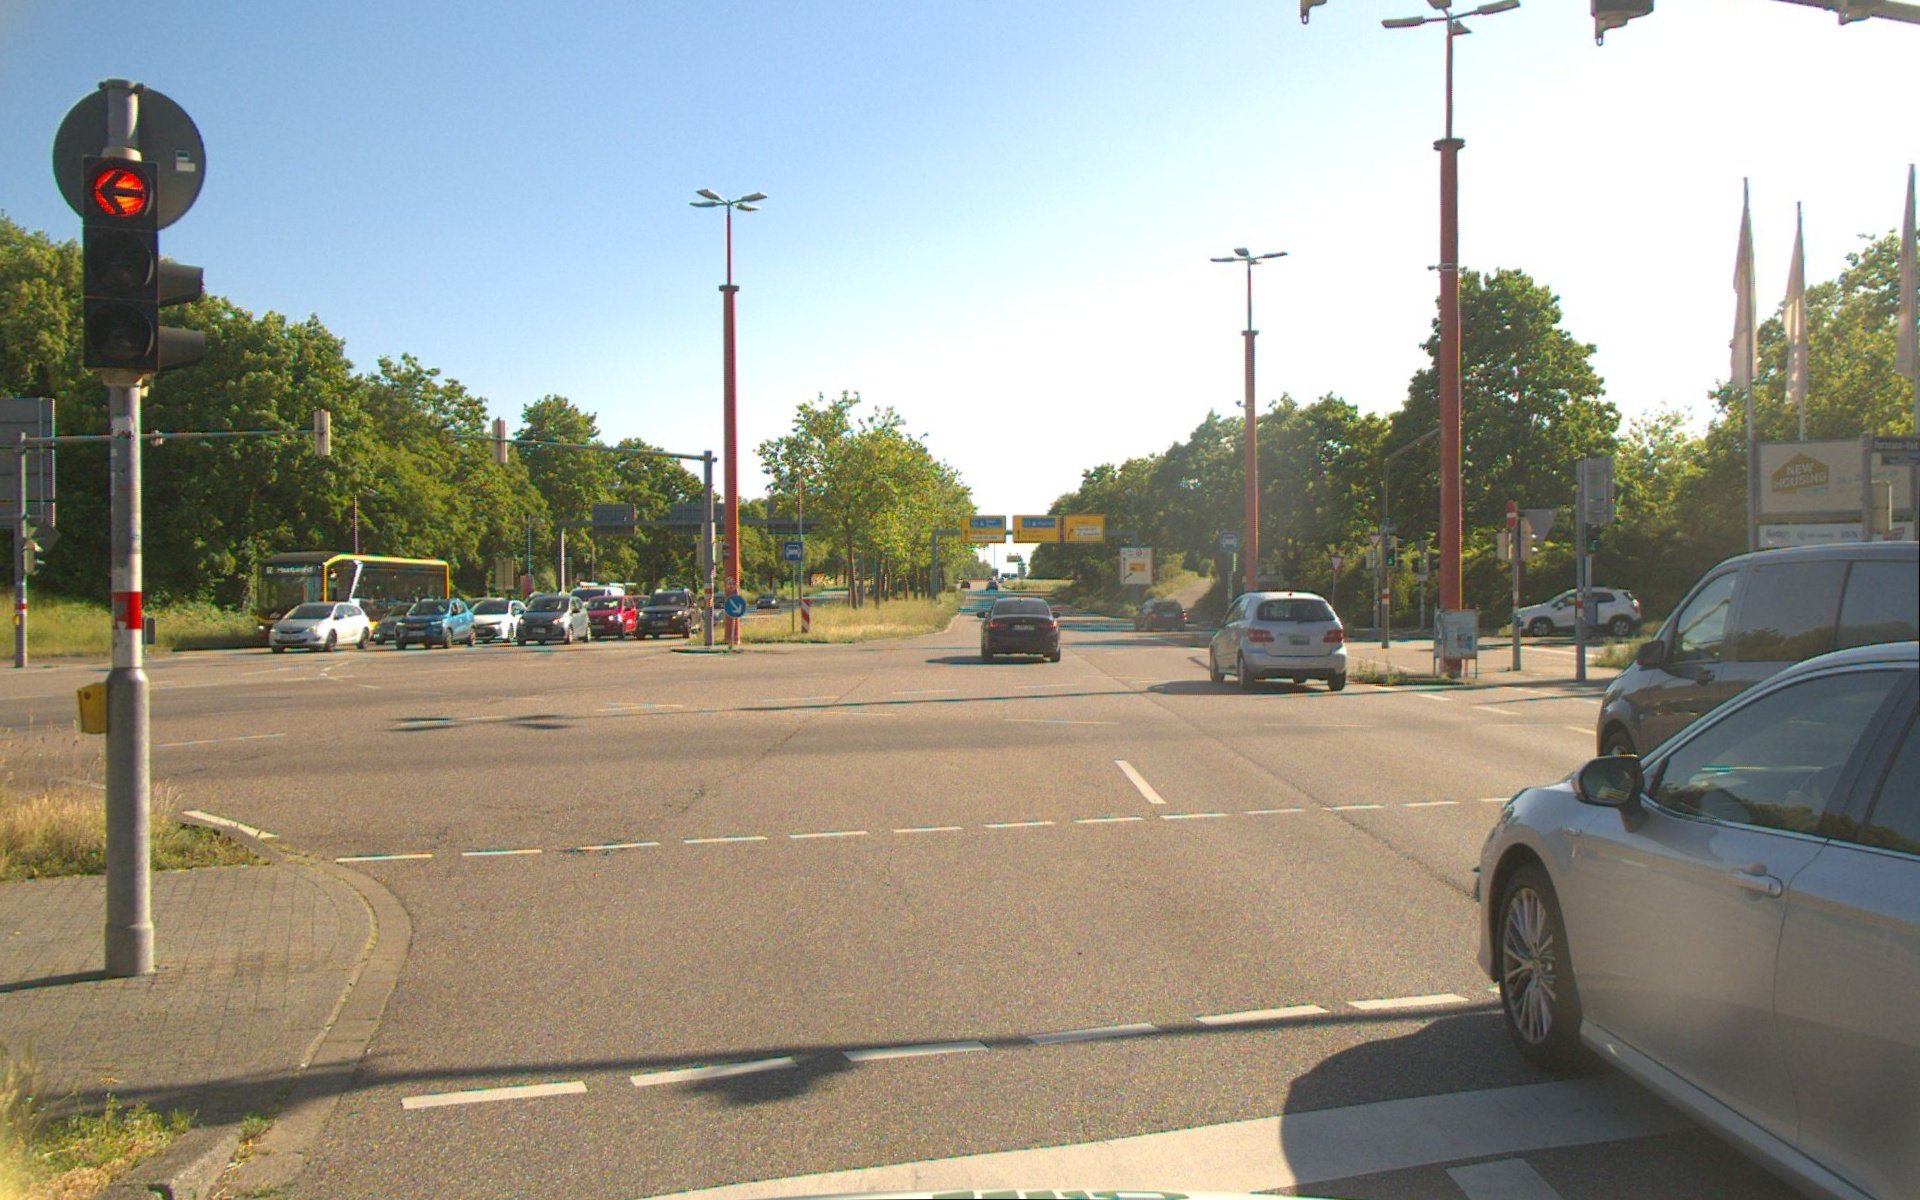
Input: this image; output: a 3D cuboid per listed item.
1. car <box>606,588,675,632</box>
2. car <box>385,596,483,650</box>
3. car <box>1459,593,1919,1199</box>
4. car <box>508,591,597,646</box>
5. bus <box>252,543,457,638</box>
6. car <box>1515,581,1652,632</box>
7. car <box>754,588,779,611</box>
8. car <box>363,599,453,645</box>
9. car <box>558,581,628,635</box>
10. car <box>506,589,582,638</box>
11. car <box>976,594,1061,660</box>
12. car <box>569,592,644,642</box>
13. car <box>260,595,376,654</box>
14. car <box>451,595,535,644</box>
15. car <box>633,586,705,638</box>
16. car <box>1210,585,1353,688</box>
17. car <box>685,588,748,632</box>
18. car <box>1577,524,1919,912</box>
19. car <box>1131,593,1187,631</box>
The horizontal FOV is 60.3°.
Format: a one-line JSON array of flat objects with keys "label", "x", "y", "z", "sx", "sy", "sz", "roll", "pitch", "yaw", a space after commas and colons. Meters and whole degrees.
[{"label": "car", "x": -12.411, "y": 0.363, "z": 64.423, "sx": 1.862, "sy": 1.658, "sz": 4.000, "roll": 0, "pitch": 0, "yaw": 1}, {"label": "car", "x": -16.109, "y": 0.679, "z": 50.868, "sx": 1.764, "sy": 1.542, "sz": 3.858, "roll": -2, "pitch": 0, "yaw": 0}, {"label": "car", "x": 2.814, "y": 0.762, "z": 3.925, "sx": 1.768, "sy": 1.519, "sz": 4.681, "roll": 1, "pitch": 0, "yaw": -1}, {"label": "car", "x": -12.775, "y": 0.548, "z": 52.080, "sx": 1.836, "sy": 1.577, "sz": 4.027, "roll": -2, "pitch": 1, "yaw": -1}, {"label": "bus", "x": -23.231, "y": -0.298, "z": 64.513, "sx": 2.590, "sy": 3.318, "sz": 12.541, "roll": 1, "pitch": 0, "yaw": 4}, {"label": "car", "x": 21.091, "y": 0.215, "z": 56.107, "sx": 4.193, "sy": 1.664, "sz": 1.771, "roll": 0, "pitch": 0, "yaw": 16}, {"label": "car", "x": -18.042, "y": -0.047, "z": 154.419, "sx": 1.881, "sy": 2.034, "sz": 4.602, "roll": 0, "pitch": 0, "yaw": -1}, {"label": "car", "x": -19.894, "y": 0.770, "z": 59.786, "sx": 1.846, "sy": 1.539, "sz": 4.000, "roll": -1, "pitch": 0, "yaw": 0}, {"label": "car", "x": -15.627, "y": 0.326, "z": 70.579, "sx": 1.922, "sy": 2.193, "sz": 5.080, "roll": -1, "pitch": 0, "yaw": -1}, {"label": "car", "x": -15.928, "y": 0.492, "z": 63.514, "sx": 1.835, "sy": 1.815, "sz": 4.000, "roll": -1, "pitch": 0, "yaw": 1}, {"label": "car", "x": 1.332, "y": 0.613, "z": 39.267, "sx": 1.728, "sy": 1.466, "sz": 4.293, "roll": 1, "pitch": 0, "yaw": -2}, {"label": "car", "x": -12.452, "y": 0.579, "z": 58.423, "sx": 1.838, "sy": 1.579, "sz": 3.998, "roll": -3, "pitch": 0, "yaw": -2}, {"label": "car", "x": -19.547, "y": 0.733, "z": 50.533, "sx": 1.838, "sy": 1.681, "sz": 4.219, "roll": -1, "pitch": 0, "yaw": 0}, {"label": "car", "x": -16.038, "y": 0.659, "z": 57.020, "sx": 1.863, "sy": 1.582, "sz": 3.998, "roll": -1, "pitch": 0, "yaw": -2}, {"label": "car", "x": -9.844, "y": 0.382, "z": 56.203, "sx": 1.757, "sy": 1.654, "sz": 4.142, "roll": -2, "pitch": 0, "yaw": -2}, {"label": "car", "x": 5.496, "y": 0.605, "z": 28.667, "sx": 1.681, "sy": 1.636, "sz": 3.846, "roll": 1, "pitch": 0, "yaw": -1}, {"label": "car", "x": -9.356, "y": 0.371, "z": 63.689, "sx": 1.847, "sy": 1.570, "sz": 3.999, "roll": -2, "pitch": 0, "yaw": -1}, {"label": "car", "x": 5.527, "y": 0.555, "z": 9.836, "sx": 1.767, "sy": 1.884, "sz": 5.102, "roll": -1, "pitch": 0, "yaw": 0}, {"label": "car", "x": 8.950, "y": 0.529, "z": 74.645, "sx": 1.729, "sy": 1.664, "sz": 4.295, "roll": 1, "pitch": 0, "yaw": -4}]
